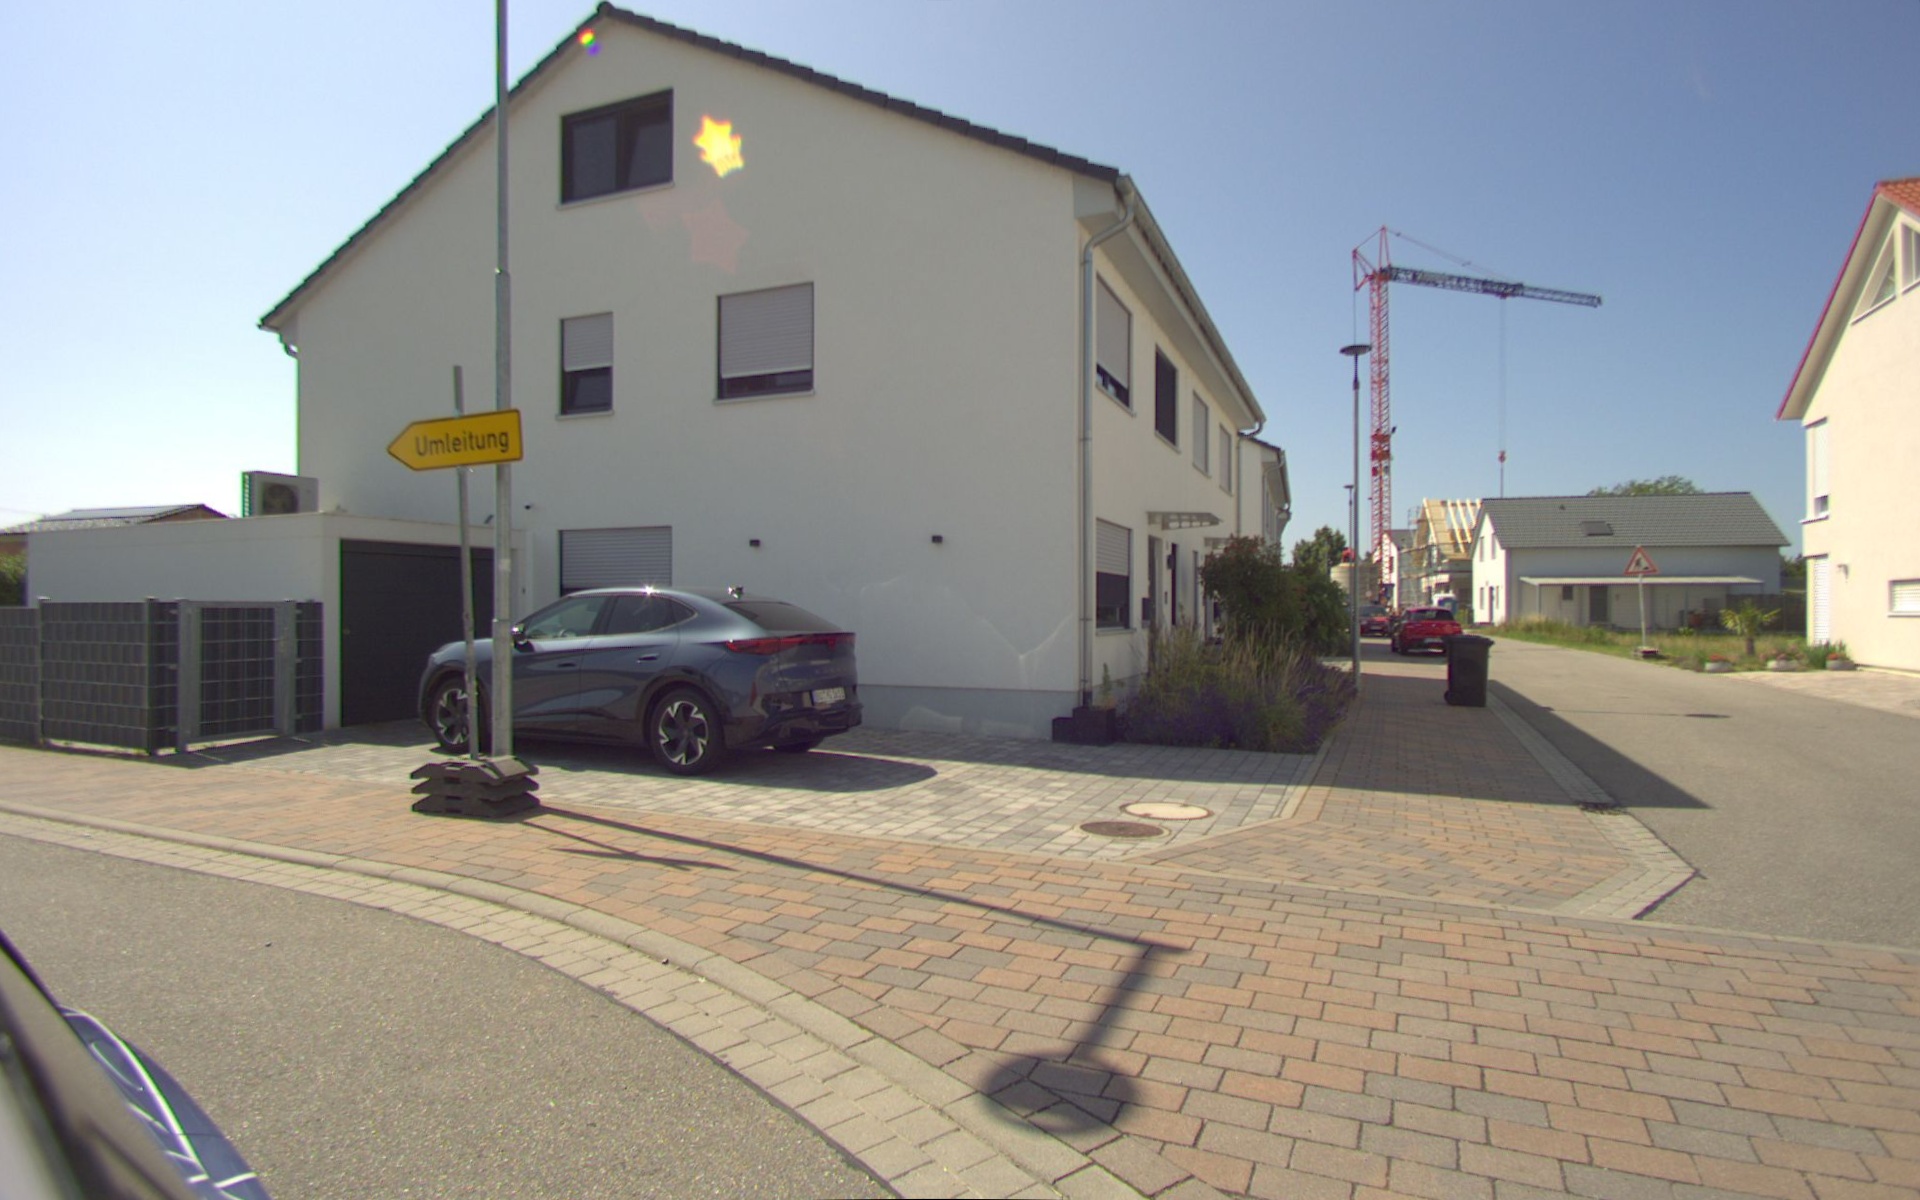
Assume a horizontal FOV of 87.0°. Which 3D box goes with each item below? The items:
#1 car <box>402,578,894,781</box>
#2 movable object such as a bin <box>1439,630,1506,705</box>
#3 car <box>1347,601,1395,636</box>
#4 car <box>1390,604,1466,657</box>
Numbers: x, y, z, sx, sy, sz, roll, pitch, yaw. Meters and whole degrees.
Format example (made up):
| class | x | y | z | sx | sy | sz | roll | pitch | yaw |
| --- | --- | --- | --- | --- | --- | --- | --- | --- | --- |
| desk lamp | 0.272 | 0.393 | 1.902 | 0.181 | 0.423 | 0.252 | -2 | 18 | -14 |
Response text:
| class | x | y | z | sx | sy | sz | roll | pitch | yaw |
| --- | --- | --- | --- | --- | --- | --- | --- | --- | --- |
| car | -2.981 | 0.662 | 9.657 | 4.326 | 1.570 | 1.944 | -1 | -2 | 25 |
| movable object such as a bin | 7.637 | 0.993 | 15.113 | 0.818 | 1.072 | 0.586 | -1 | 0 | 22 |
| car | 20.270 | 0.896 | 50.008 | 1.787 | 1.630 | 3.657 | -1 | 0 | 16 |
| car | 14.460 | 0.901 | 31.456 | 1.899 | 1.490 | 3.971 | -1 | 0 | 22 |
